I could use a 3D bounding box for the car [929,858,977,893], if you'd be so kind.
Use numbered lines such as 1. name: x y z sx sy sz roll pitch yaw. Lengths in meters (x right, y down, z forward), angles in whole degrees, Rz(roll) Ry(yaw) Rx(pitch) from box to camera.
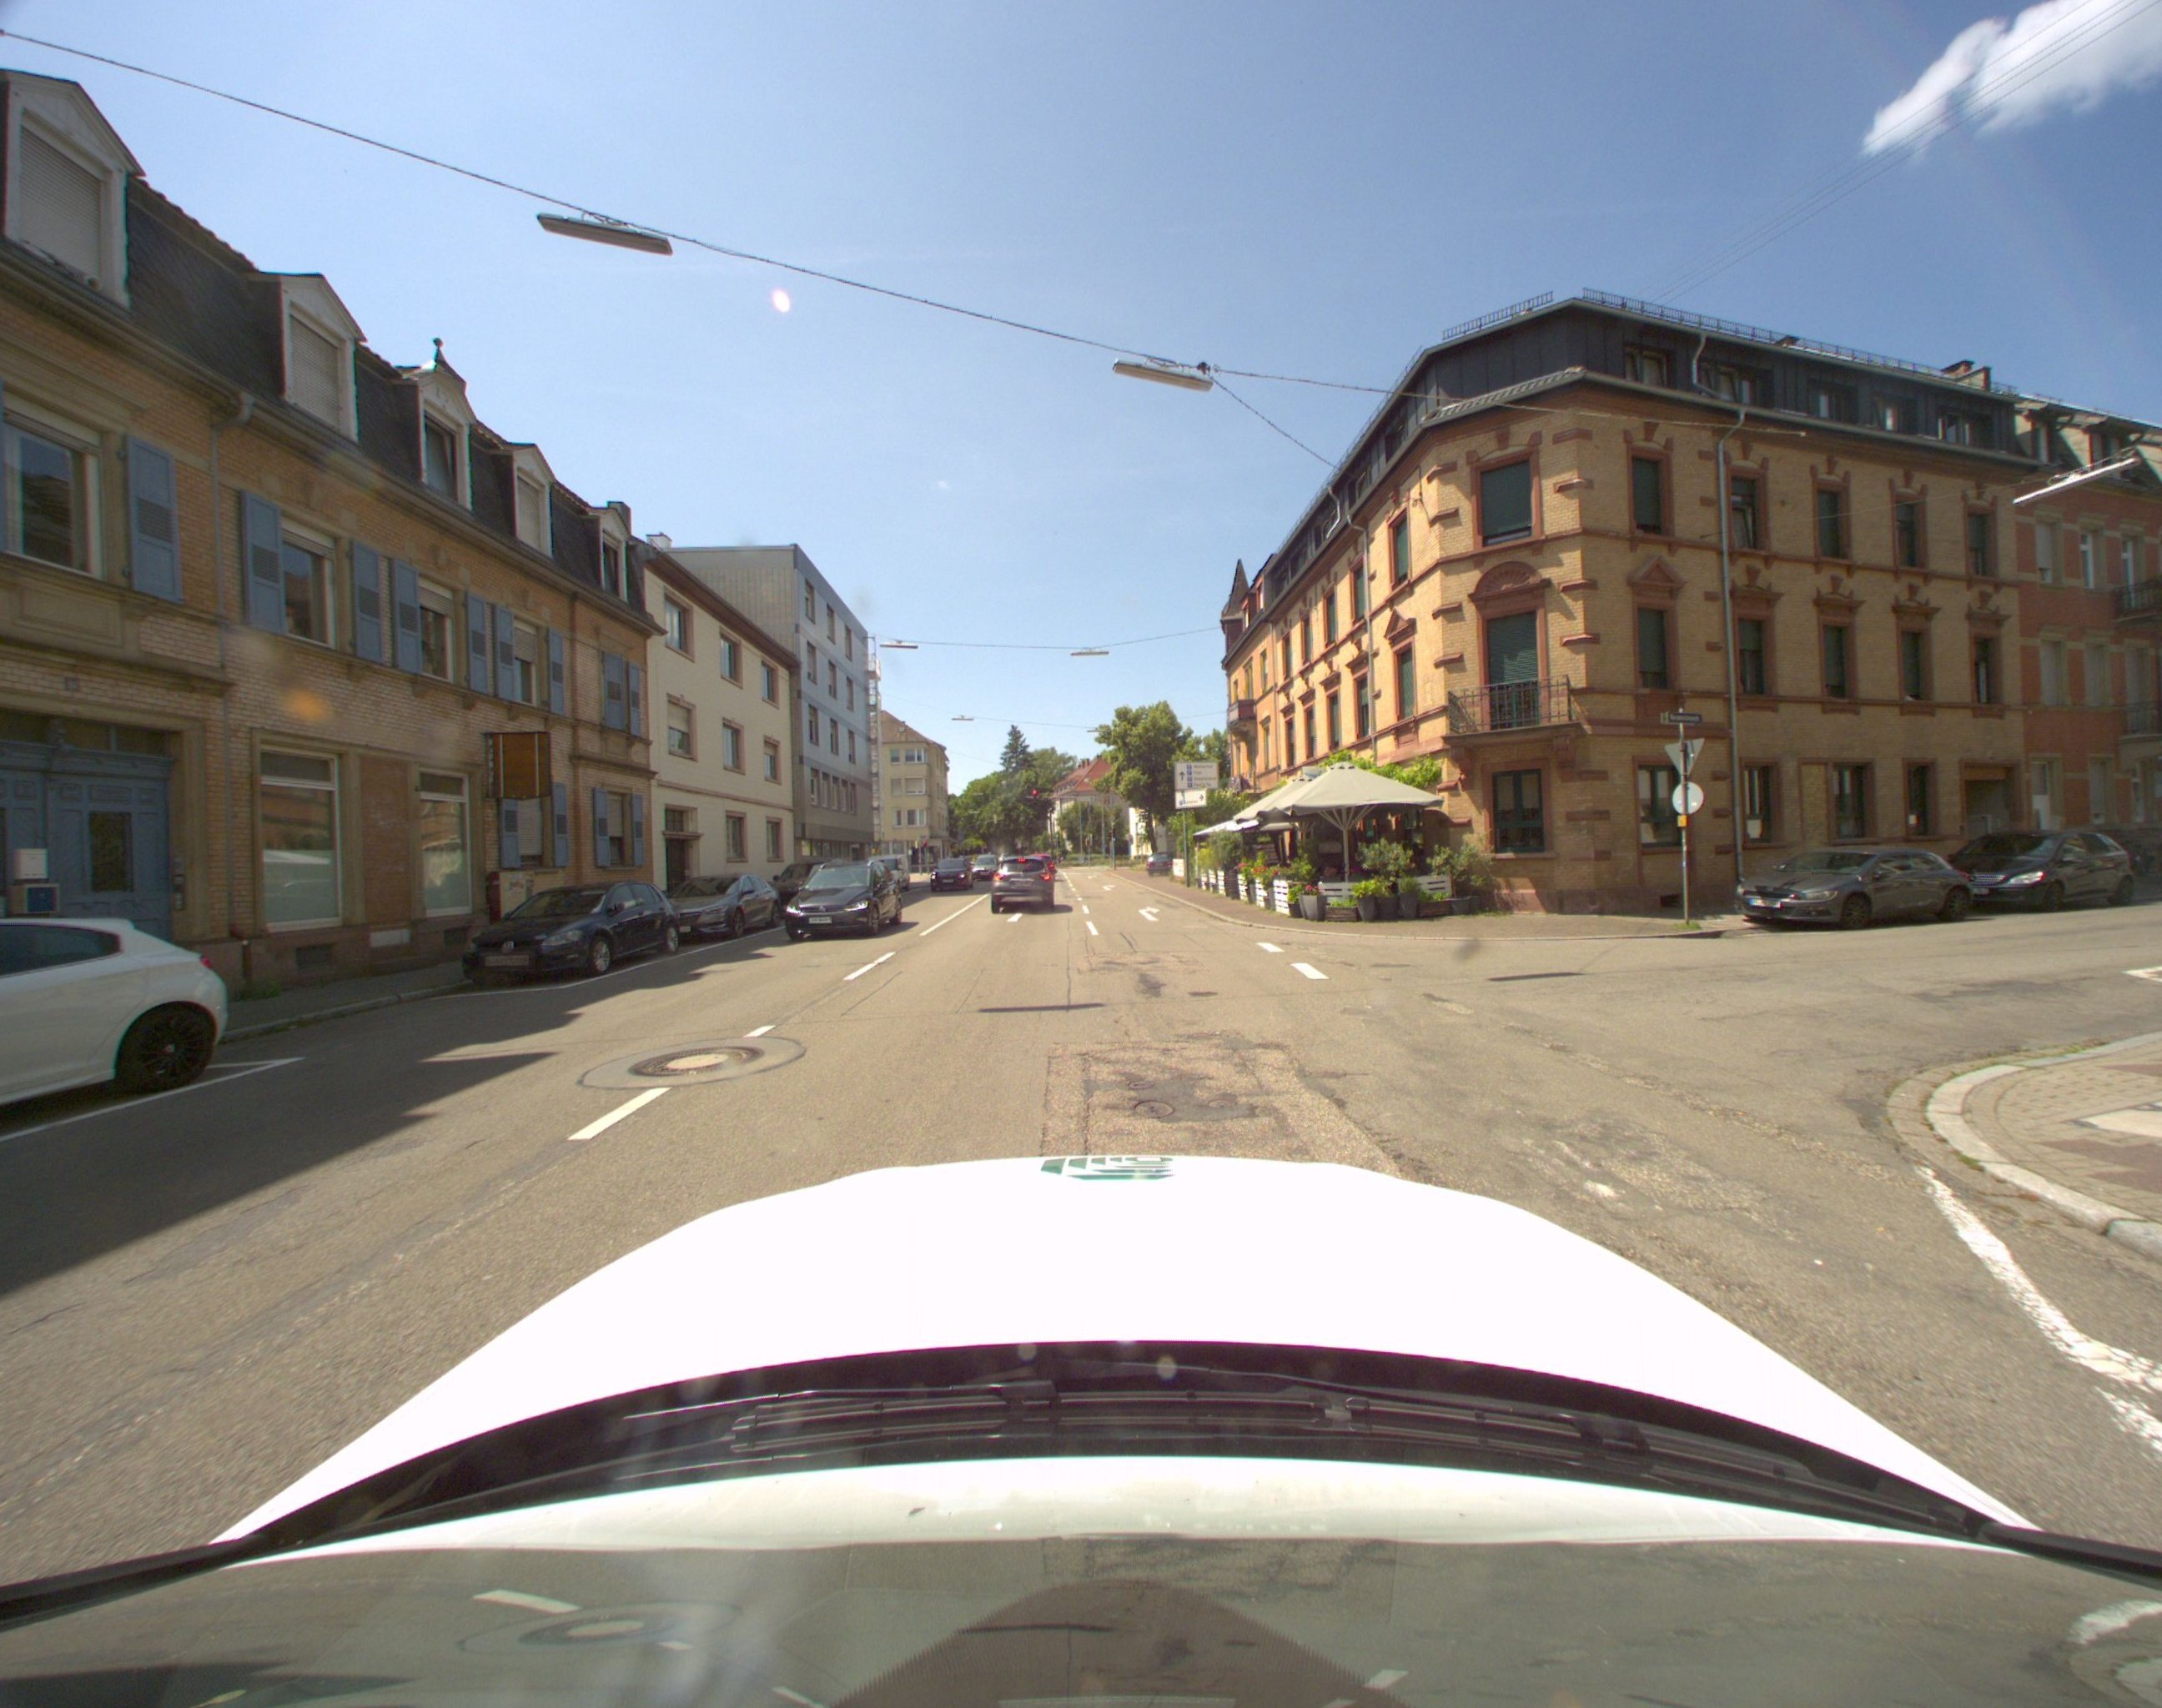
1. car: -6.016 0.974 38.744 1.697 1.478 4.130 -2 0 -2

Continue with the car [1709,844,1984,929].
1. car: 14.392 0.556 15.401 3.991 1.365 1.908 -2 0 -13

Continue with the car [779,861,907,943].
1. car: -5.138 0.964 18.182 1.756 1.494 4.240 -2 0 -3

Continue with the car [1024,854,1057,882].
1. car: -2.357 0.783 48.224 1.794 1.558 4.034 -1 0 -2

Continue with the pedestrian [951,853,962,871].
1. pedestrian: -13.122 0.853 85.768 0.936 1.931 0.972 -1 -1 -14

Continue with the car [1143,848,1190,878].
1. car: 5.440 0.527 51.019 1.819 1.548 5.181 -2 1 18

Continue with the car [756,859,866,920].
1. car: -8.383 1.044 25.760 1.880 1.641 4.814 -3 0 -2

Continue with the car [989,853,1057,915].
1. car: -1.618 0.809 23.902 1.749 1.632 3.998 -1 0 -1

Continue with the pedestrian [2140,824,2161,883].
1. pedestrian: 30.269 -0.016 22.551 0.806 1.621 0.924 -1 0 -20

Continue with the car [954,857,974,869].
1. car: -14.519 1.120 100.785 1.997 1.519 3.978 0 -1 -16

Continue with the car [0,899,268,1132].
1. car: -7.965 1.175 4.860 1.860 1.426 4.326 -5 0 -2

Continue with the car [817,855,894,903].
1. car: -8.740 0.910 31.981 1.881 1.641 4.656 -3 0 -4

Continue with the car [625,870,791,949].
1. car: -8.442 1.170 18.994 1.862 1.406 4.829 -5 0 -5

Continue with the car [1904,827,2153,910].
1. car: 20.007 0.260 17.238 4.131 1.536 1.906 -2 0 -17

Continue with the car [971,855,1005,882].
1. car: -5.805 0.889 51.206 1.697 1.574 4.309 -2 0 -2

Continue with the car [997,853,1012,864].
1. car: -13.261 0.833 141.251 1.997 1.807 3.980 -1 0 -15

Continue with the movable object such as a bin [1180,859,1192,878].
1. movable object such as a bin: 5.937 0.810 45.955 0.645 1.071 0.638 -1 0 8

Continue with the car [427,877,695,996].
1. car: -8.271 1.207 13.537 1.862 1.406 4.322 -5 0 -5

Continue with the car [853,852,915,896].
1. car: -9.152 0.900 38.258 1.910 1.825 4.782 -3 0 -4
